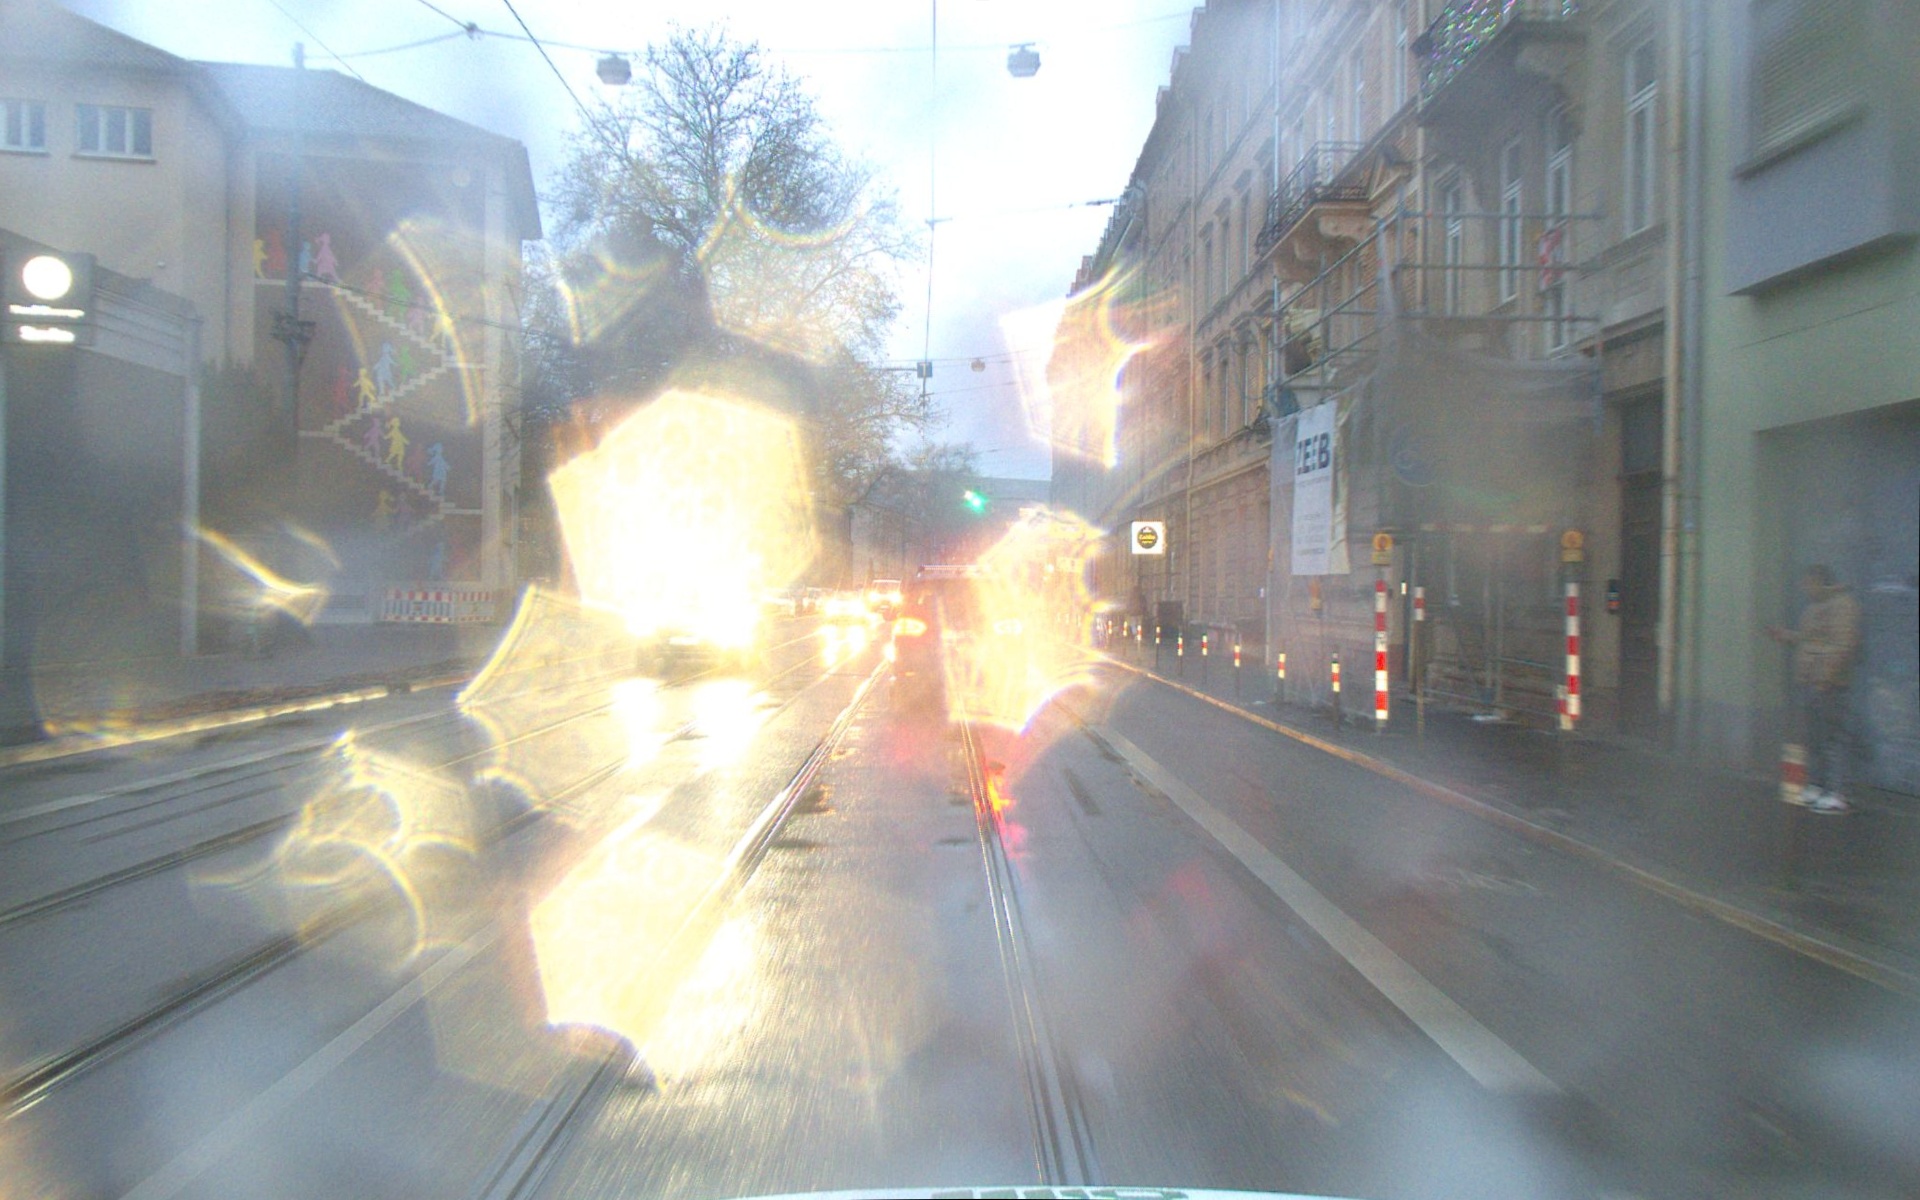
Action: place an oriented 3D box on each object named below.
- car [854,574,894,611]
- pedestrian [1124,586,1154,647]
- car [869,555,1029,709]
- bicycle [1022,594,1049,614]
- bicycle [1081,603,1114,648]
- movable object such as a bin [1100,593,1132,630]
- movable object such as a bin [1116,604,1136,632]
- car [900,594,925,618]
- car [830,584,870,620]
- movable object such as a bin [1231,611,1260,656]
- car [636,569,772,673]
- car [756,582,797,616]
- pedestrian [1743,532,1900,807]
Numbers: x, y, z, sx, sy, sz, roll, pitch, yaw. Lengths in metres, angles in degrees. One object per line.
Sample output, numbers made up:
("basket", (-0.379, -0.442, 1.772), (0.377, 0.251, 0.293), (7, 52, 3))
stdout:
("car", (-5.705, -0.470, 110.724), (2.396, 2.388, 5.844), (0, 0, 0))
("pedestrian", (5.213, 0.469, 48.179), (0.817, 1.731, 0.954), (1, 0, 8))
("car", (-0.066, 0.390, 22.447), (1.952, 1.874, 4.001), (1, 0, 2))
("bicycle", (4.481, 0.250, 98.298), (0.781, 1.164, 2.230), (1, 0, -19))
("bicycle", (3.721, 0.683, 44.982), (0.670, 1.176, 2.188), (1, 0, -1))
("movable object such as a bin", (5.547, 0.408, 58.924), (0.871, 1.311, 1.260), (0, 0, -8))
("movable object such as a bin", (5.568, 0.604, 55.482), (0.599, 0.945, 0.491), (0, 0, -2))
("car", (-4.213, 0.520, 145.737), (1.952, 2.049, 4.001), (1, 0, 1))
("car", (-4.742, 0.064, 71.535), (1.499, 1.507, 3.561), (1, 0, 0))
("movable object such as a bin", (6.103, 0.714, 35.388), (0.496, 0.947, 0.507), (1, 0, -2))
("car", (-4.573, 0.330, 30.152), (1.837, 1.739, 4.759), (0, 0, -1))
("car", (-9.318, -0.028, 84.212), (1.945, 1.643, 4.425), (1, 0, -5))
("pedestrian", (6.050, 0.472, 11.634), (0.592, 1.850, 0.769), (1, -1, -28))
